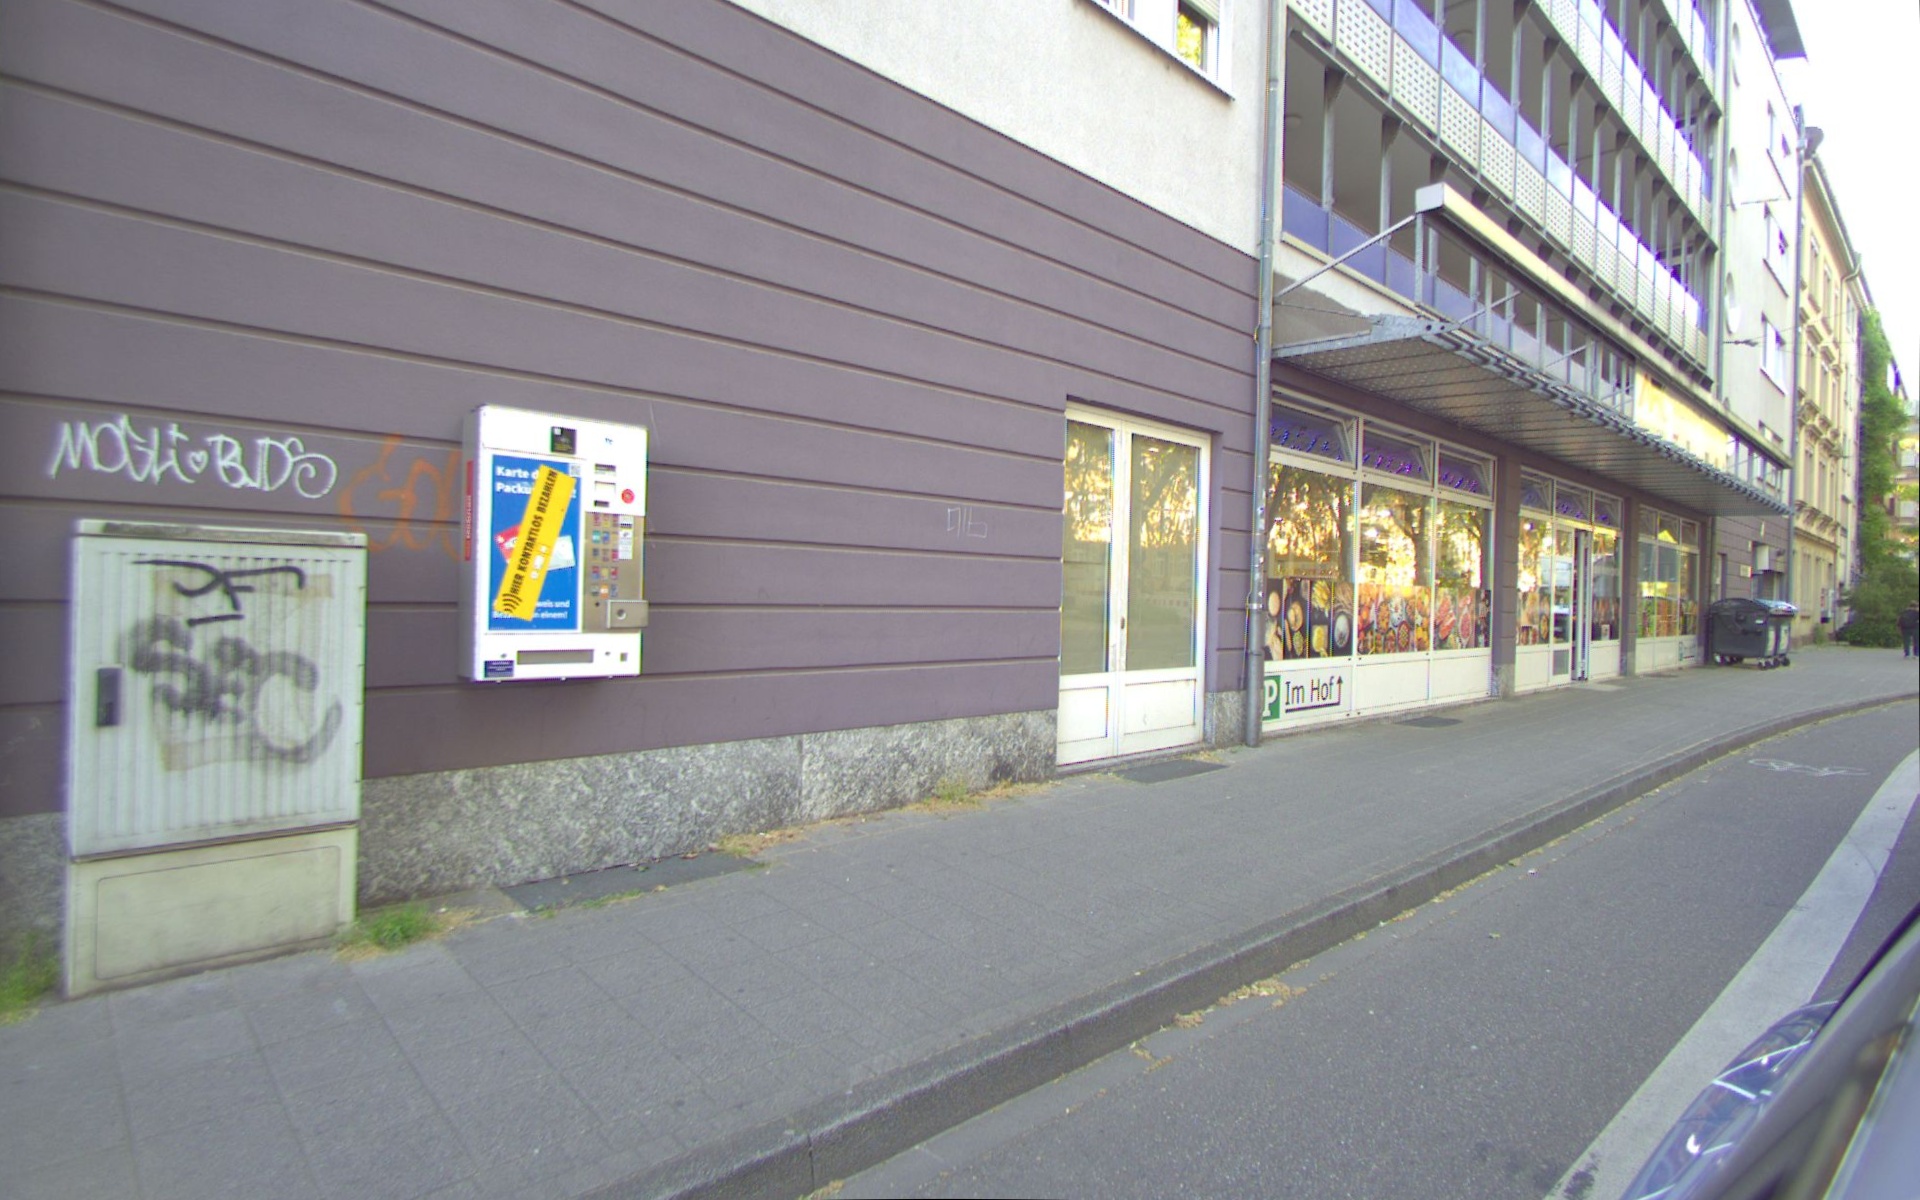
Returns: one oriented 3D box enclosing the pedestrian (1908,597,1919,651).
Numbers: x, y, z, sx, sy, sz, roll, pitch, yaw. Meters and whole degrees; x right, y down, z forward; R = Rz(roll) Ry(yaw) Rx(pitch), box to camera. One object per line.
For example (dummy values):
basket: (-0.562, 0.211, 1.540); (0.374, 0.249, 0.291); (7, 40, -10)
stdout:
pedestrian: (26.346, 0.646, 27.663); (0.619, 1.463, 0.540); (1, 1, -41)

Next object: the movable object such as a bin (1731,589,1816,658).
movable object such as a bin: (17.874, 0.491, 22.230); (1.348, 1.427, 1.203); (1, 1, -41)

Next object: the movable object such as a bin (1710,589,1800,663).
movable object such as a bin: (16.425, 0.511, 20.901); (1.348, 1.427, 1.203); (1, 1, -41)
